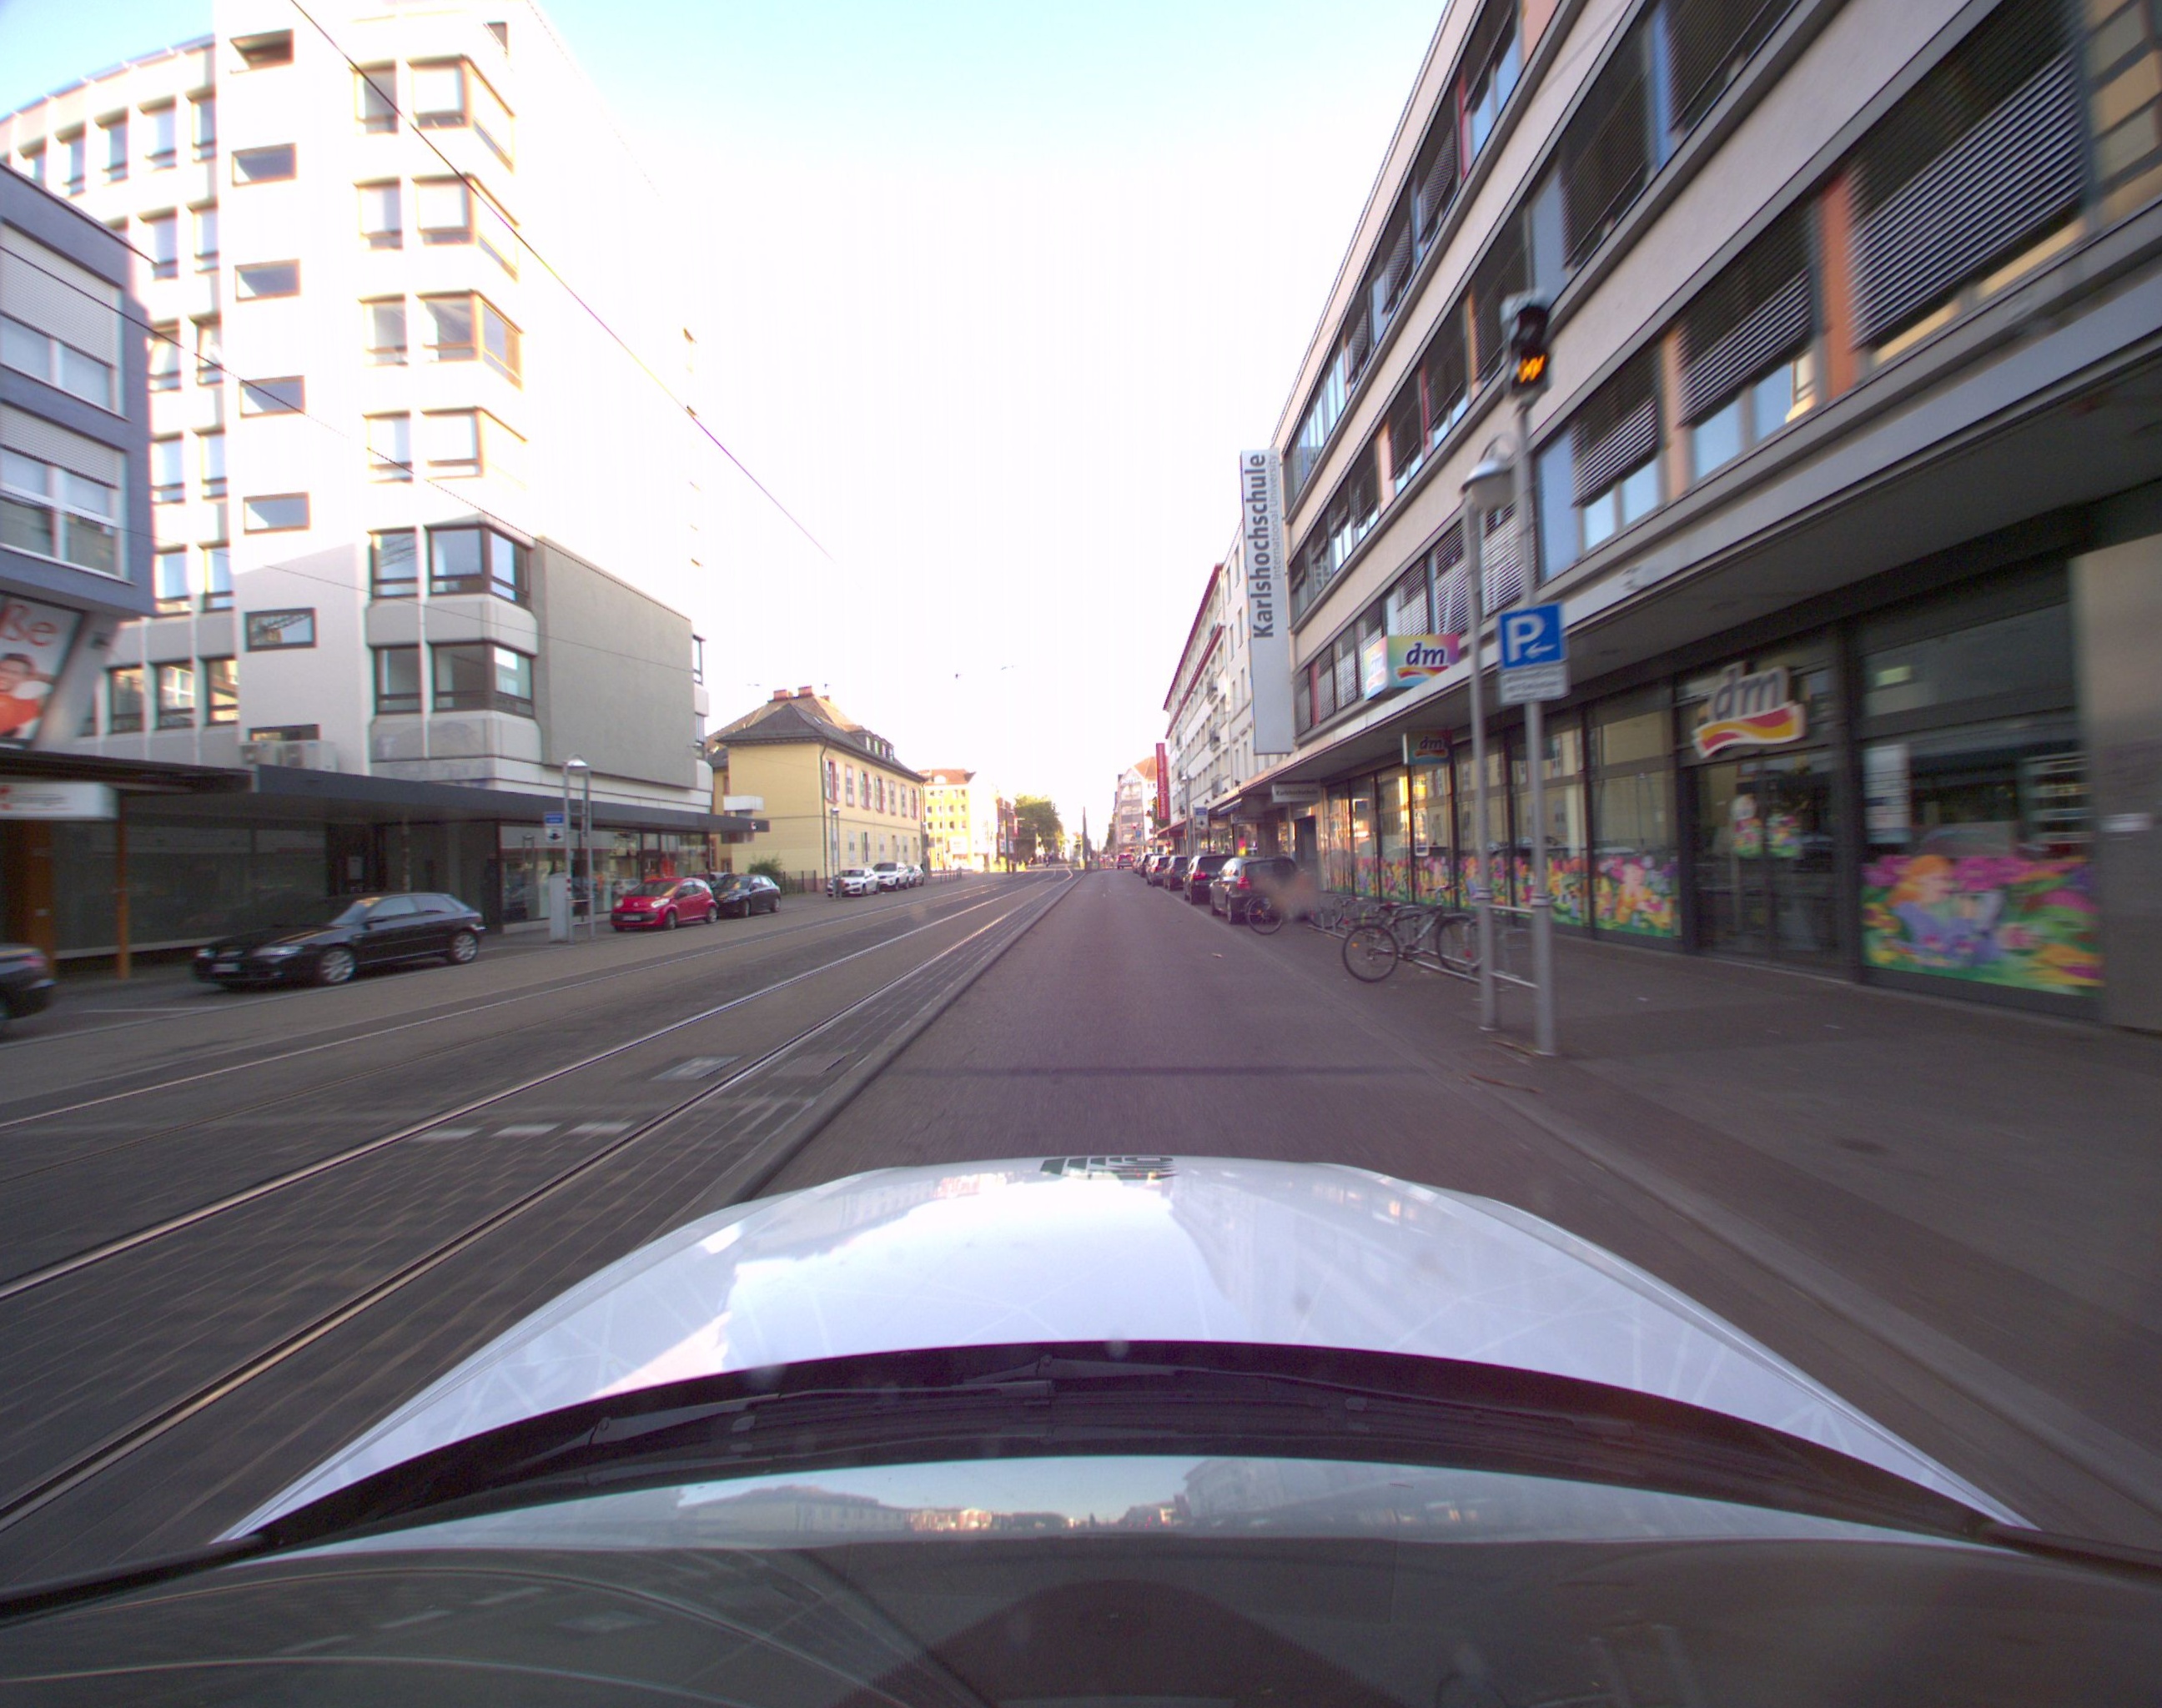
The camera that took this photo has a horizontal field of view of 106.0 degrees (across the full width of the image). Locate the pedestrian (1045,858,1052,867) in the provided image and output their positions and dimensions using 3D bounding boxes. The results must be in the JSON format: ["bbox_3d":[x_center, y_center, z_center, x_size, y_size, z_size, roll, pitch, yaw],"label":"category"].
[{"bbox_3d":[-4.714,1.225,117.894,0.900,1.375,0.853,-3,-1,-1],"label":"pedestrian"}]

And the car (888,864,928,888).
[{"bbox_3d":[-11.483,1.425,54.315,1.742,1.474,4.001,-1,0,1],"label":"car"}]

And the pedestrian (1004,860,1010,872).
[{"bbox_3d":[-8.705,1.382,96.077,0.662,1.375,0.651,-2,-1,-1],"label":"pedestrian"}]

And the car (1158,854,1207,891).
[{"bbox_3d":[4.310,0.771,35.005,1.719,1.481,4.001,-1,-1,2],"label":"car"}]

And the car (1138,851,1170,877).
[{"bbox_3d":[4.931,0.661,55.521,1.849,1.701,4.419,-1,-1,1],"label":"car"}]

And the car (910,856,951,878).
[{"bbox_3d":[-15.391,1.334,83.236,3.994,2.013,1.990,-2,-1,-15],"label":"car"}]

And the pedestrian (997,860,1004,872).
[{"bbox_3d":[-9.468,1.445,95.818,0.662,1.375,0.651,-2,0,-1],"label":"pedestrian"}]

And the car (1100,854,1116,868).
[{"bbox_3d":[3.647,0.910,110.651,1.986,1.596,4.001,-6,-2,2],"label":"car"}]

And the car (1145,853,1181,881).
[{"bbox_3d":[4.726,0.706,47.493,1.774,1.522,4.358,-1,0,2],"label":"car"}]

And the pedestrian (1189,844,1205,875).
[{"bbox_3d":[7.133,0.358,50.249,0.772,1.880,0.934,-3,-1,0],"label":"pedestrian"}]

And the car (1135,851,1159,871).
[{"bbox_3d":[5.015,0.550,62.574,1.645,1.421,4.192,-1,-1,2],"label":"car"}]

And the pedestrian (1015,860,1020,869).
[{"bbox_3d":[-14.424,2.433,184.127,1.090,2.014,1.162,-1,-1,-1],"label":"pedestrian"}]

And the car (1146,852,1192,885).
[{"bbox_3d":[4.321,0.713,40.613,1.785,1.533,4.857,-1,-1,1],"label":"car"}]

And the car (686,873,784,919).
[{"bbox_3d":[-12.079,1.419,28.716,1.685,1.425,3.966,0,0,2],"label":"car"}]

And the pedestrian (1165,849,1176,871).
[{"bbox_3d":[6.676,0.451,60.822,0.730,1.574,0.967,-2,0,1],"label":"pedestrian"}]

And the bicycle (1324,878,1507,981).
[{"bbox_3d":[3.771,0.836,9.260,1.790,0.972,0.575,-4,0,-2],"label":"bicycle"}]

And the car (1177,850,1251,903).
[{"bbox_3d":[4.063,0.679,25.478,1.758,1.513,4.073,-1,-1,2],"label":"car"}]

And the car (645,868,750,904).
[{"bbox_3d":[-17.957,1.483,38.238,3.975,1.553,1.913,-1,-1,-1],"label":"car"}]

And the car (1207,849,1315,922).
[{"bbox_3d":[3.952,0.654,18.491,1.648,1.463,4.024,-1,-1,2],"label":"car"}]

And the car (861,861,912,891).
[{"bbox_3d":[-11.564,1.300,48.704,1.881,1.661,4.760,-1,0,0],"label":"car"}]

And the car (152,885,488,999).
[{"bbox_3d":[-12.740,1.377,14.073,1.783,1.460,4.093,-3,0,2],"label":"car"}]

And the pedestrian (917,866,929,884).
[{"bbox_3d":[-13.325,1.755,68.661,0.796,1.542,0.878,-1,-1,3],"label":"pedestrian"}]

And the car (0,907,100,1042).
[{"bbox_3d":[-12.826,1.338,7.538,1.865,1.427,4.572,-1,-1,2],"label":"car"}]

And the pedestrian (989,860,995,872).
[{"bbox_3d":[-10.438,1.400,95.547,0.662,1.375,0.651,-3,-1,-1],"label":"pedestrian"}]

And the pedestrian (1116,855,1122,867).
[{"bbox_3d":[5.404,0.937,116.128,0.870,1.706,0.701,-1,-1,4],"label":"pedestrian"}]

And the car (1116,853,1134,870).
[{"bbox_3d":[4.712,0.816,86.902,1.828,1.636,4.093,-3,-2,3],"label":"car"}]

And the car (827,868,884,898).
[{"bbox_3d":[-11.791,1.486,42.912,1.715,1.453,4.284,-1,0,1],"label":"car"}]

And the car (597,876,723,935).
[{"bbox_3d":[-12.173,1.440,23.820,1.685,1.434,3.593,-2,0,1],"label":"car"}]

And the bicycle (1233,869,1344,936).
[{"bbox_3d":[3.823,0.882,15.066,1.834,1.109,0.642,-3,-1,-2],"label":"bicycle"}]

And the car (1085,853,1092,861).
[{"bbox_3d":[2.164,0.835,228.071,1.948,2.014,4.001,-1,-1,2],"label":"car"}]
